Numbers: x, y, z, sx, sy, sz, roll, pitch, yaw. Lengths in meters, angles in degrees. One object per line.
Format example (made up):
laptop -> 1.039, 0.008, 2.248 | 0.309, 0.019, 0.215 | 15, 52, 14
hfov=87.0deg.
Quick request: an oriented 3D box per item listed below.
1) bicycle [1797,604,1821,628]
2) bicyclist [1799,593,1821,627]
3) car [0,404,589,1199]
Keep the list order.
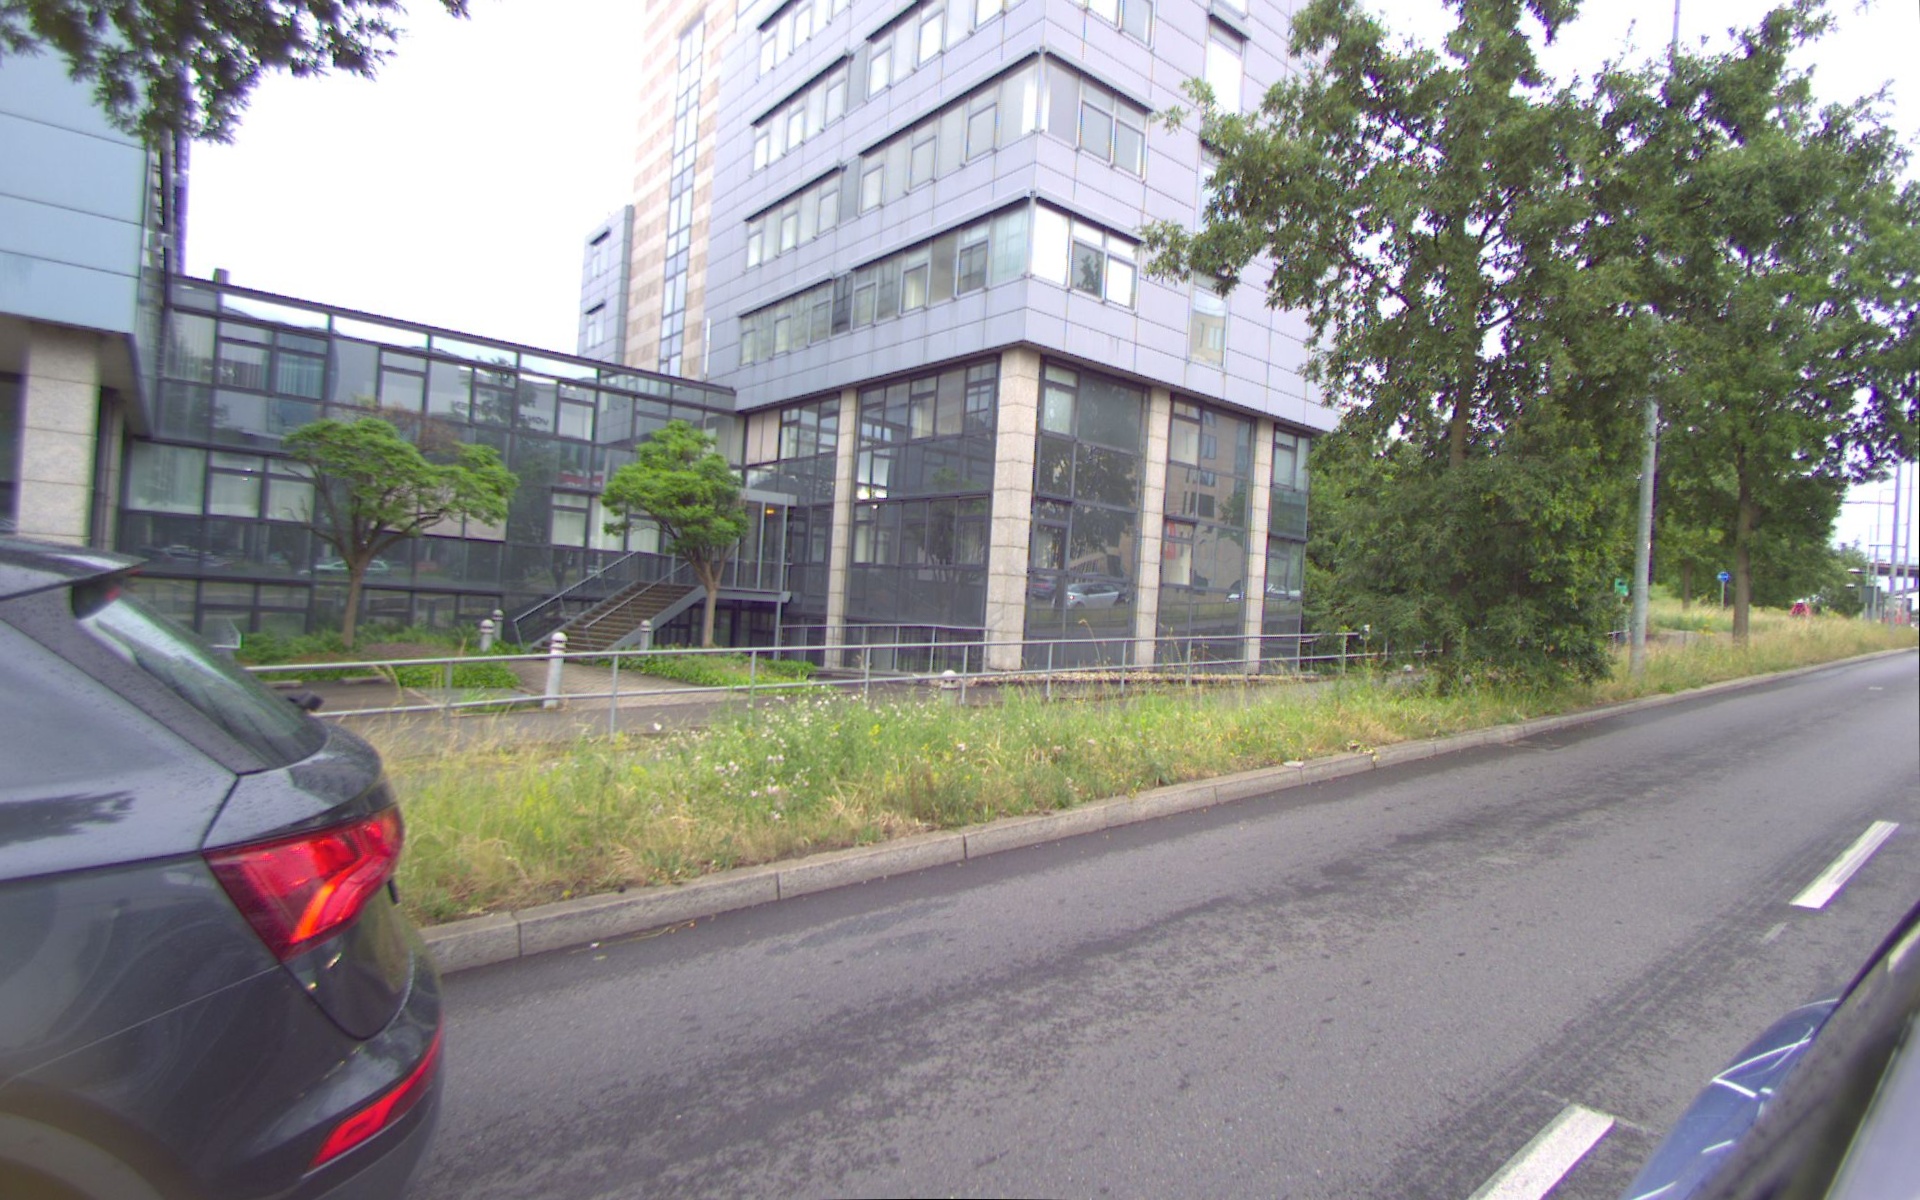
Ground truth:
bicycle -> 39.876, 0.753, 47.519 | 1.872, 1.102, 0.581 | 1, -1, -41
bicyclist -> 39.889, 0.476, 47.506 | 0.839, 1.599, 0.647 | 1, -1, -41
car -> -2.901, 0.548, 1.024 | 4.392, 1.633, 1.821 | 0, 1, -41
